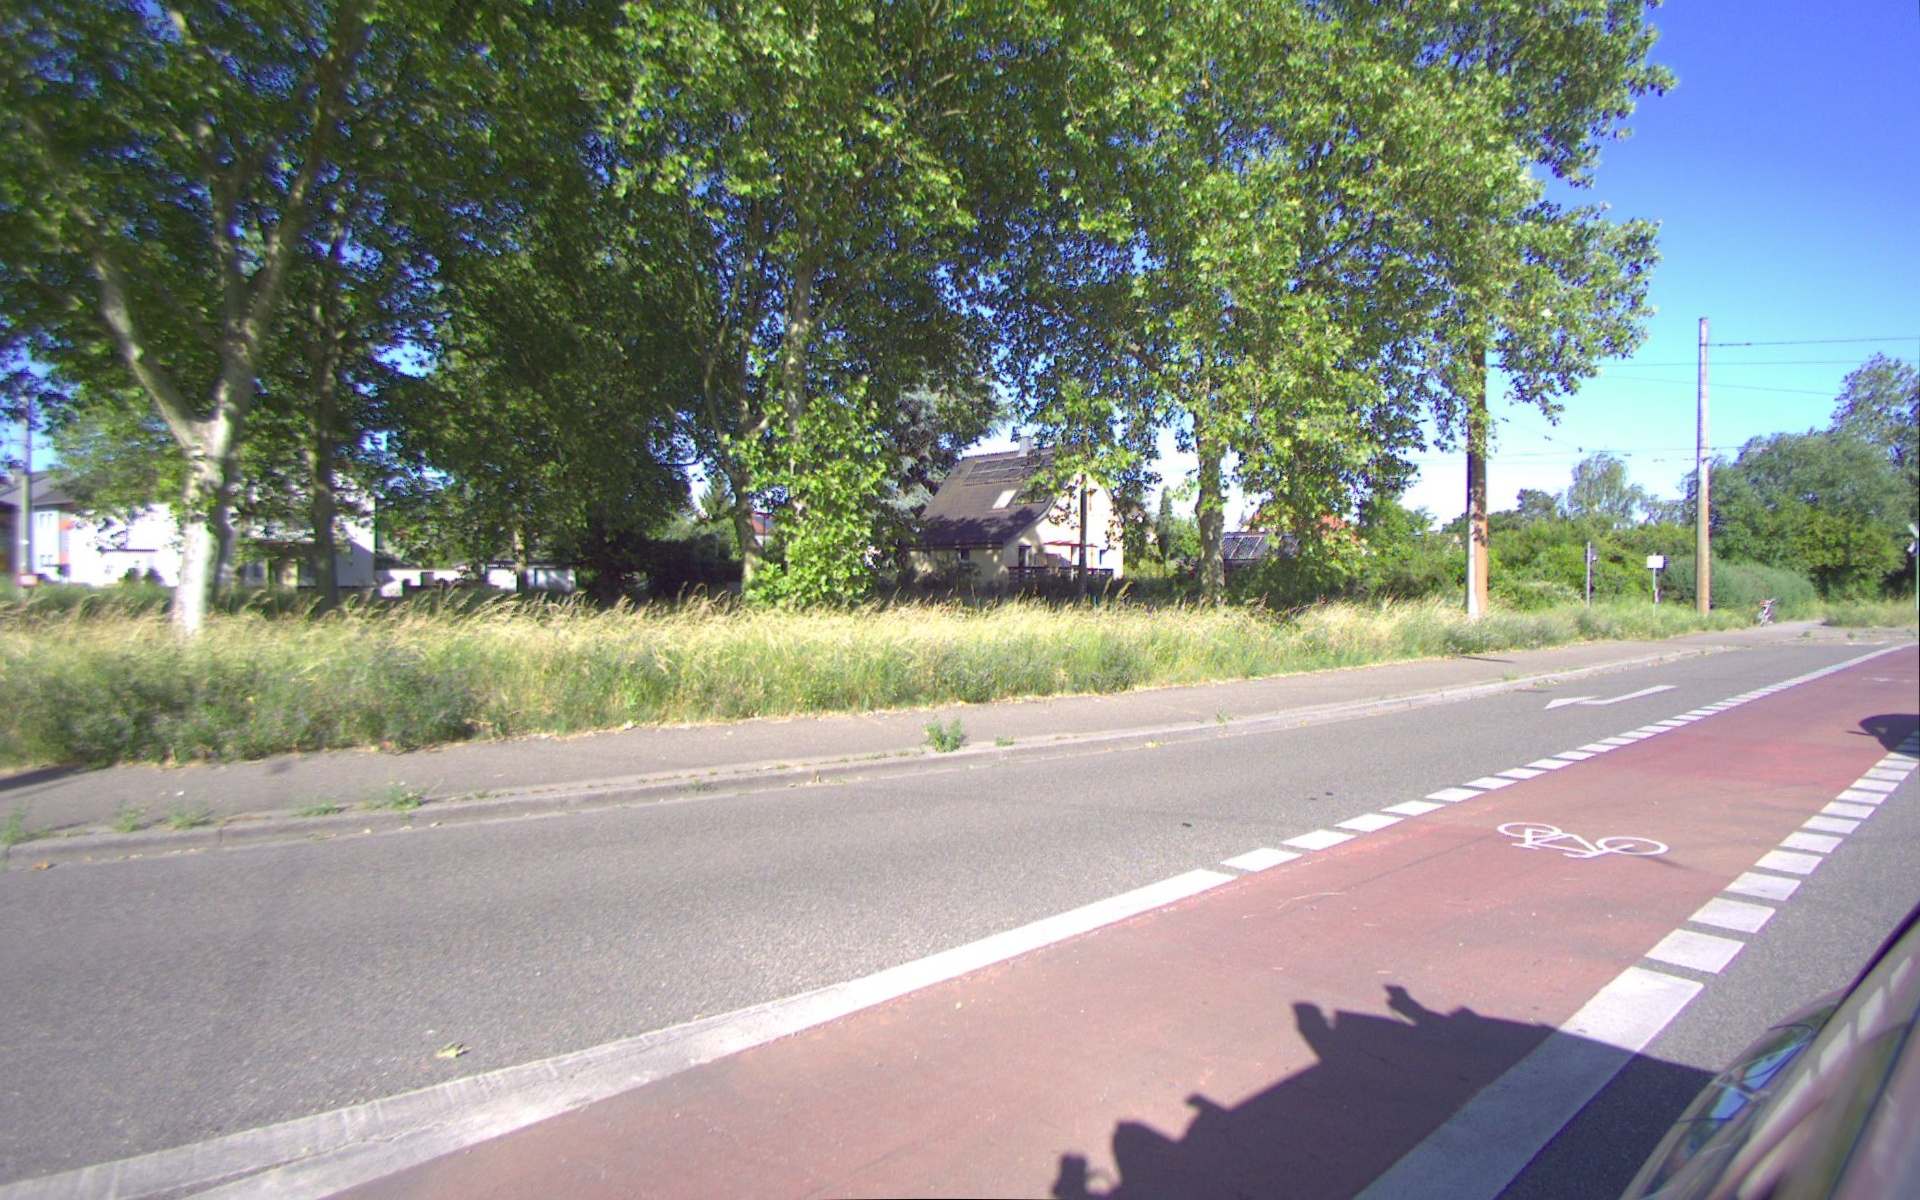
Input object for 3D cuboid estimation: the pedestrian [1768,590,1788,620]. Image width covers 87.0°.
[{"bbox_3d":[29.220,0.172,36.152,0.446,1.046,0.482,0,1,-41],"label":"pedestrian"}]
